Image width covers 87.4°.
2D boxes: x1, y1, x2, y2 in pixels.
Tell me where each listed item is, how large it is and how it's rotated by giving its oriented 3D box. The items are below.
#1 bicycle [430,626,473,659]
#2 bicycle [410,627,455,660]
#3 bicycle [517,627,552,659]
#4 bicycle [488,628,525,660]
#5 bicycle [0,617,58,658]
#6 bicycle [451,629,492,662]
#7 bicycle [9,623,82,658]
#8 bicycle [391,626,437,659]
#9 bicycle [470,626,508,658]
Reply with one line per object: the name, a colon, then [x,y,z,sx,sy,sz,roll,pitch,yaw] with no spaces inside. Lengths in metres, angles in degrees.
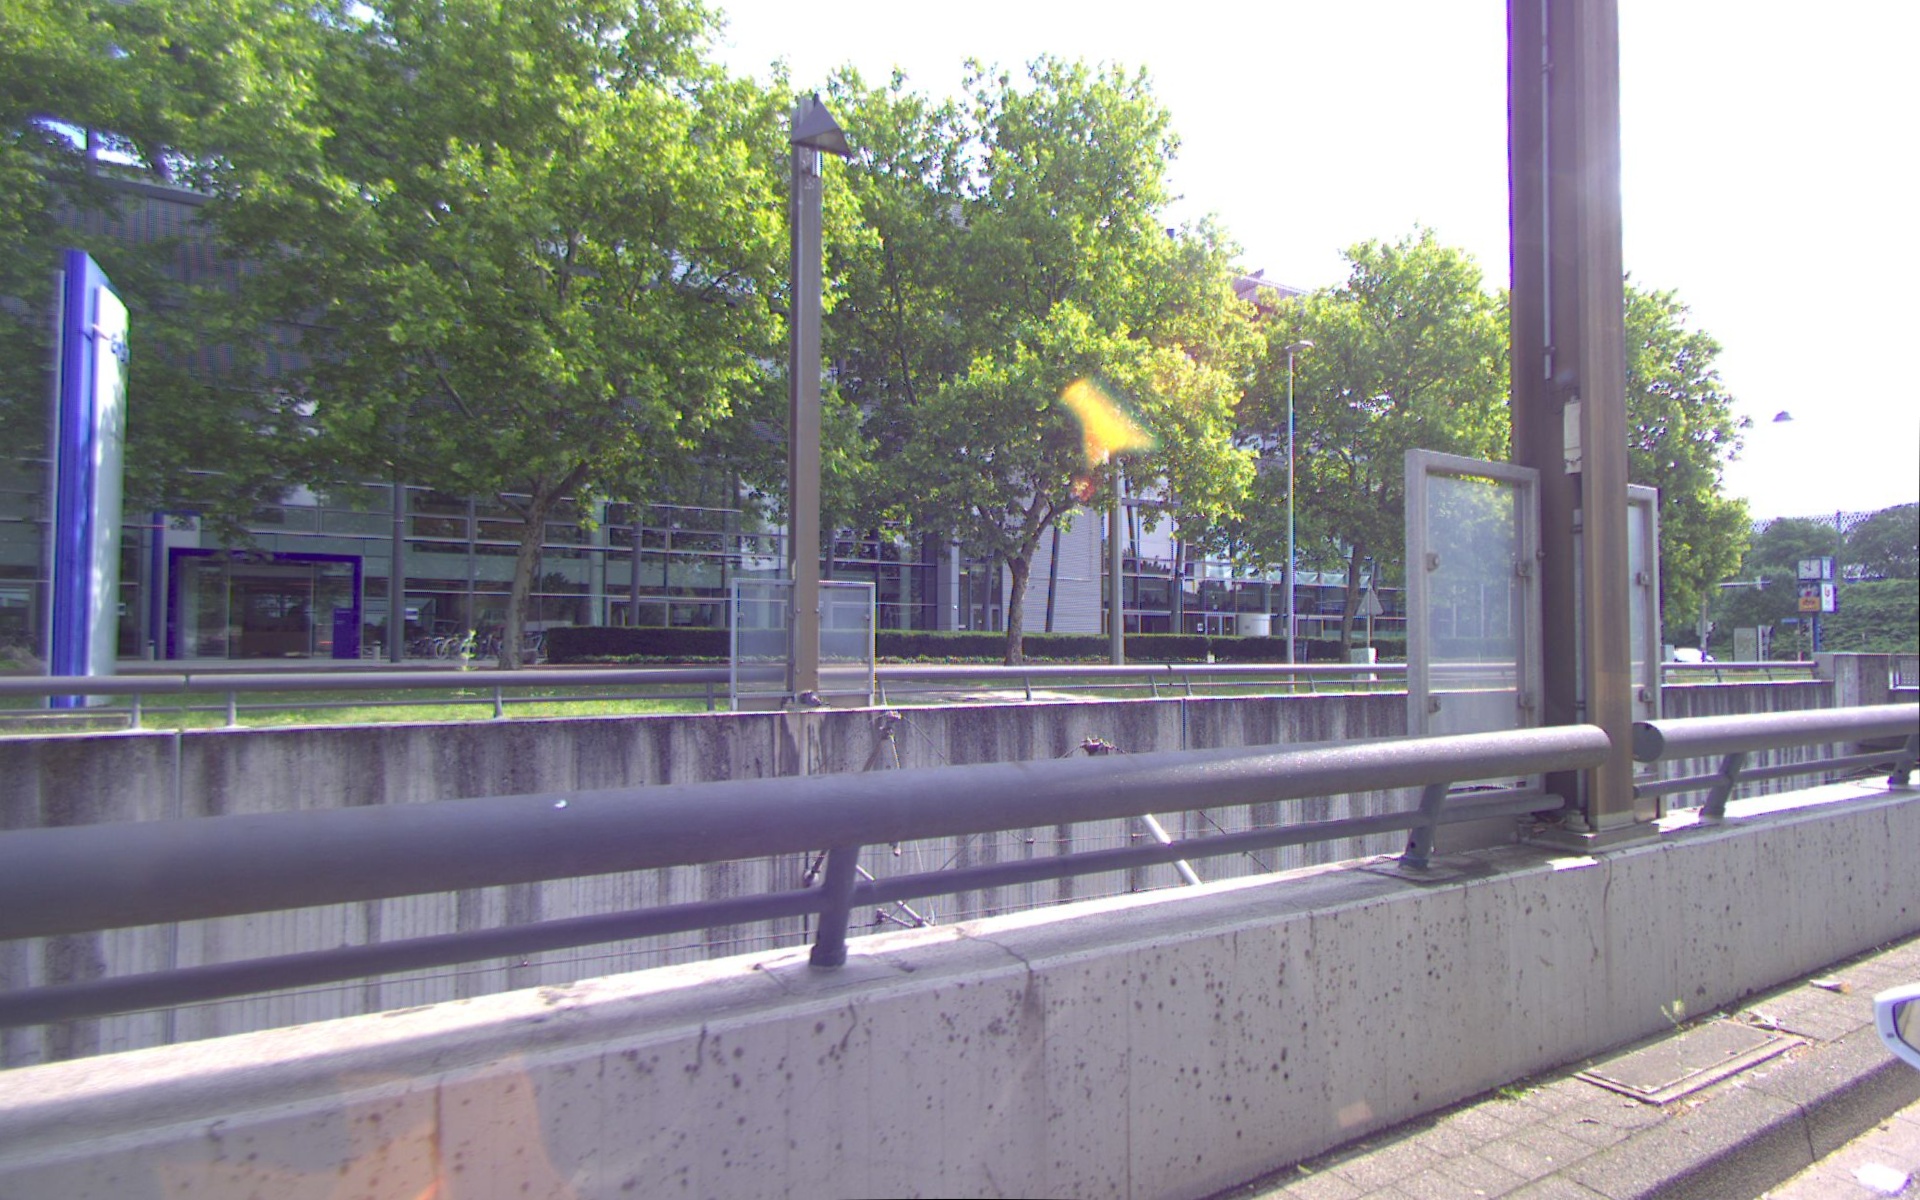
bicycle: [-18.805,1.554,37.186,0.624,1.165,2.270,1,-2,-5]
bicycle: [-19.542,1.591,37.270,0.624,1.165,2.270,2,-2,-5]
bicycle: [-15.852,1.591,37.477,0.782,1.165,2.267,1,-2,-13]
bicycle: [-16.686,1.612,37.024,0.624,1.165,2.269,1,-2,-8]
bicycle: [-28.978,1.136,30.857,2.291,1.193,0.814,0,-1,17]
bicycle: [-18.087,1.665,37.235,0.624,1.165,2.270,1,-2,-6]
bicycle: [-28.779,1.268,31.608,2.291,1.037,0.595,0,-1,17]
bicycle: [-20.214,1.573,37.241,0.624,1.165,2.270,1,-2,-5]
bicycle: [-17.381,1.542,37.126,0.624,1.165,2.269,1,-2,-8]
